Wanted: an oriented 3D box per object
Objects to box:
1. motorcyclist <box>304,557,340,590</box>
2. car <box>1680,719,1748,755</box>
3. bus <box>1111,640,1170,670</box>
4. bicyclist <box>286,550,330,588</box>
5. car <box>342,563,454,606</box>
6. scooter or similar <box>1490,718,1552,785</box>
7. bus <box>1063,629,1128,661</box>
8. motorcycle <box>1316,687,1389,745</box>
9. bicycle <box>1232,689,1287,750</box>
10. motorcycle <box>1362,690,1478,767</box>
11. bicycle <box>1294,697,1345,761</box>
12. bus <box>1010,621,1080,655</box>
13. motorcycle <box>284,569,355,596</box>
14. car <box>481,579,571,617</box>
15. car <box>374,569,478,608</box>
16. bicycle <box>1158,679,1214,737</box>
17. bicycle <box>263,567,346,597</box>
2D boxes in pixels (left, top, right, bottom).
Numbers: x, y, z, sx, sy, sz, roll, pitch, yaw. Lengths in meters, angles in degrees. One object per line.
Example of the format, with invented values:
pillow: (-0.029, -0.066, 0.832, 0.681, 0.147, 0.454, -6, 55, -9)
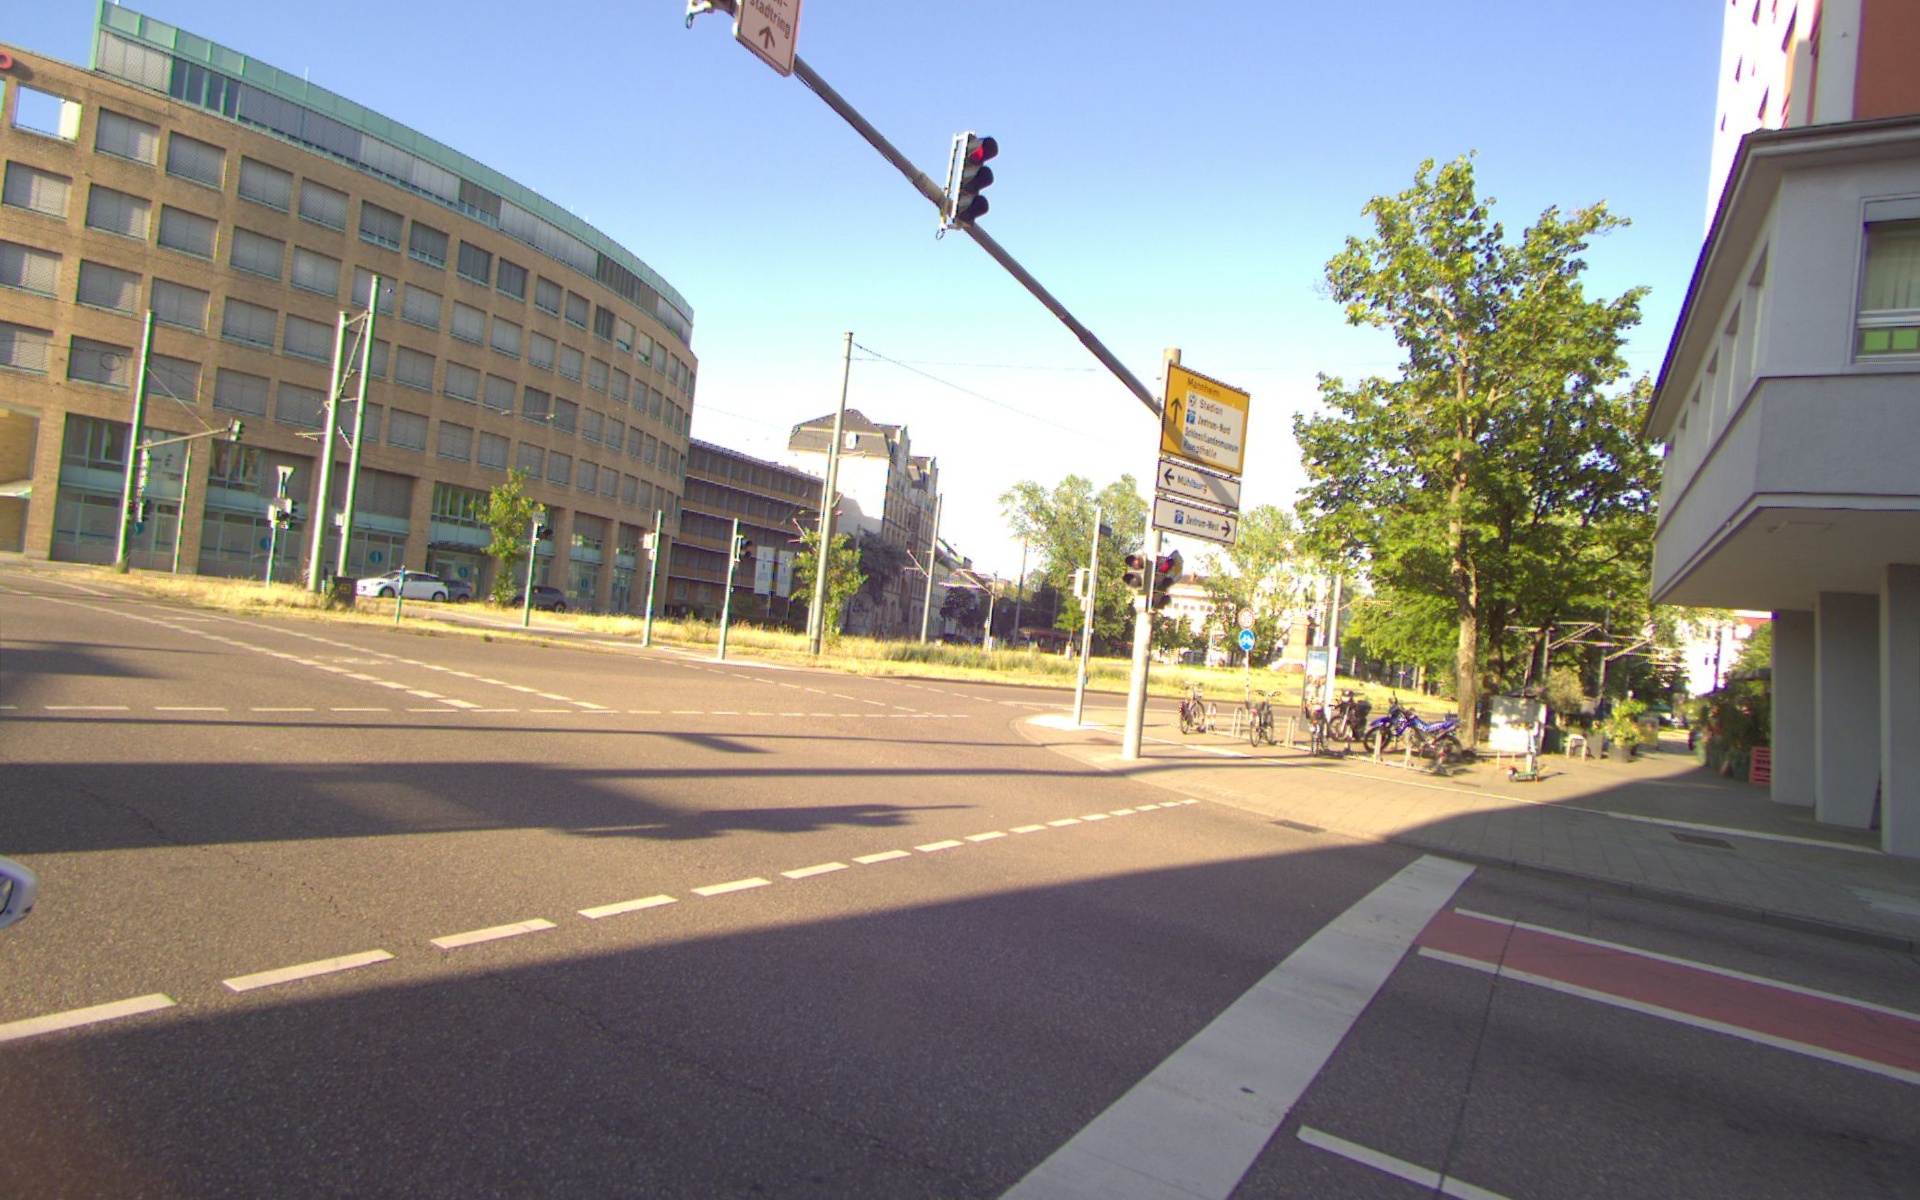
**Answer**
motorcyclist: (-31.507, -1.305, 49.695, 1.015, 1.452, 1.067, 5, -1, 31)
car: (41.399, 7.520, 55.245, 3.842, 1.574, 1.945, 8, -2, -38)
bus: (24.992, 7.650, 138.899, 2.322, 3.247, 11.026, 5, -2, 43)
bicyclist: (-30.364, -1.449, 46.834, 1.135, 1.590, 1.225, 6, -1, 30)
car: (-26.763, -0.711, 48.054, 1.961, 1.509, 4.171, 5, -2, 30)
scooter or similar: (11.399, 3.064, 20.424, 1.549, 1.251, 0.479, 6, 0, -39)
bus: (17.695, 5.858, 130.730, 2.321, 3.247, 11.028, 5, -2, 42)
motorcycle: (10.044, 2.974, 25.708, 2.044, 1.323, 0.880, 7, -2, -43)
bicycle: (6.438, 2.528, 21.582, 0.584, 1.128, 2.003, 6, 0, 30)
motorcycle: (10.427, 2.904, 22.903, 2.224, 1.408, 0.845, 6, -2, 20)
bicycle: (7.504, 2.647, 20.952, 0.584, 1.128, 2.058, 6, 0, 29)
bus: (10.495, 4.683, 122.463, 2.377, 3.247, 11.073, 5, -2, 40)
motorcycle: (-31.573, -0.845, 49.658, 1.015, 0.975, 2.723, 5, -2, 31)
car: (-23.235, -0.090, 53.972, 1.790, 1.509, 4.059, 5, -2, 31)
car: (-28.797, -0.583, 54.376, 1.954, 1.555, 4.488, 5, -2, 32)
bicycle: (5.053, 2.374, 22.421, 0.584, 1.129, 1.974, 6, 0, 29)
bicycle: (-30.444, -0.808, 46.782, 1.135, 1.012, 2.966, 5, -2, 30)
